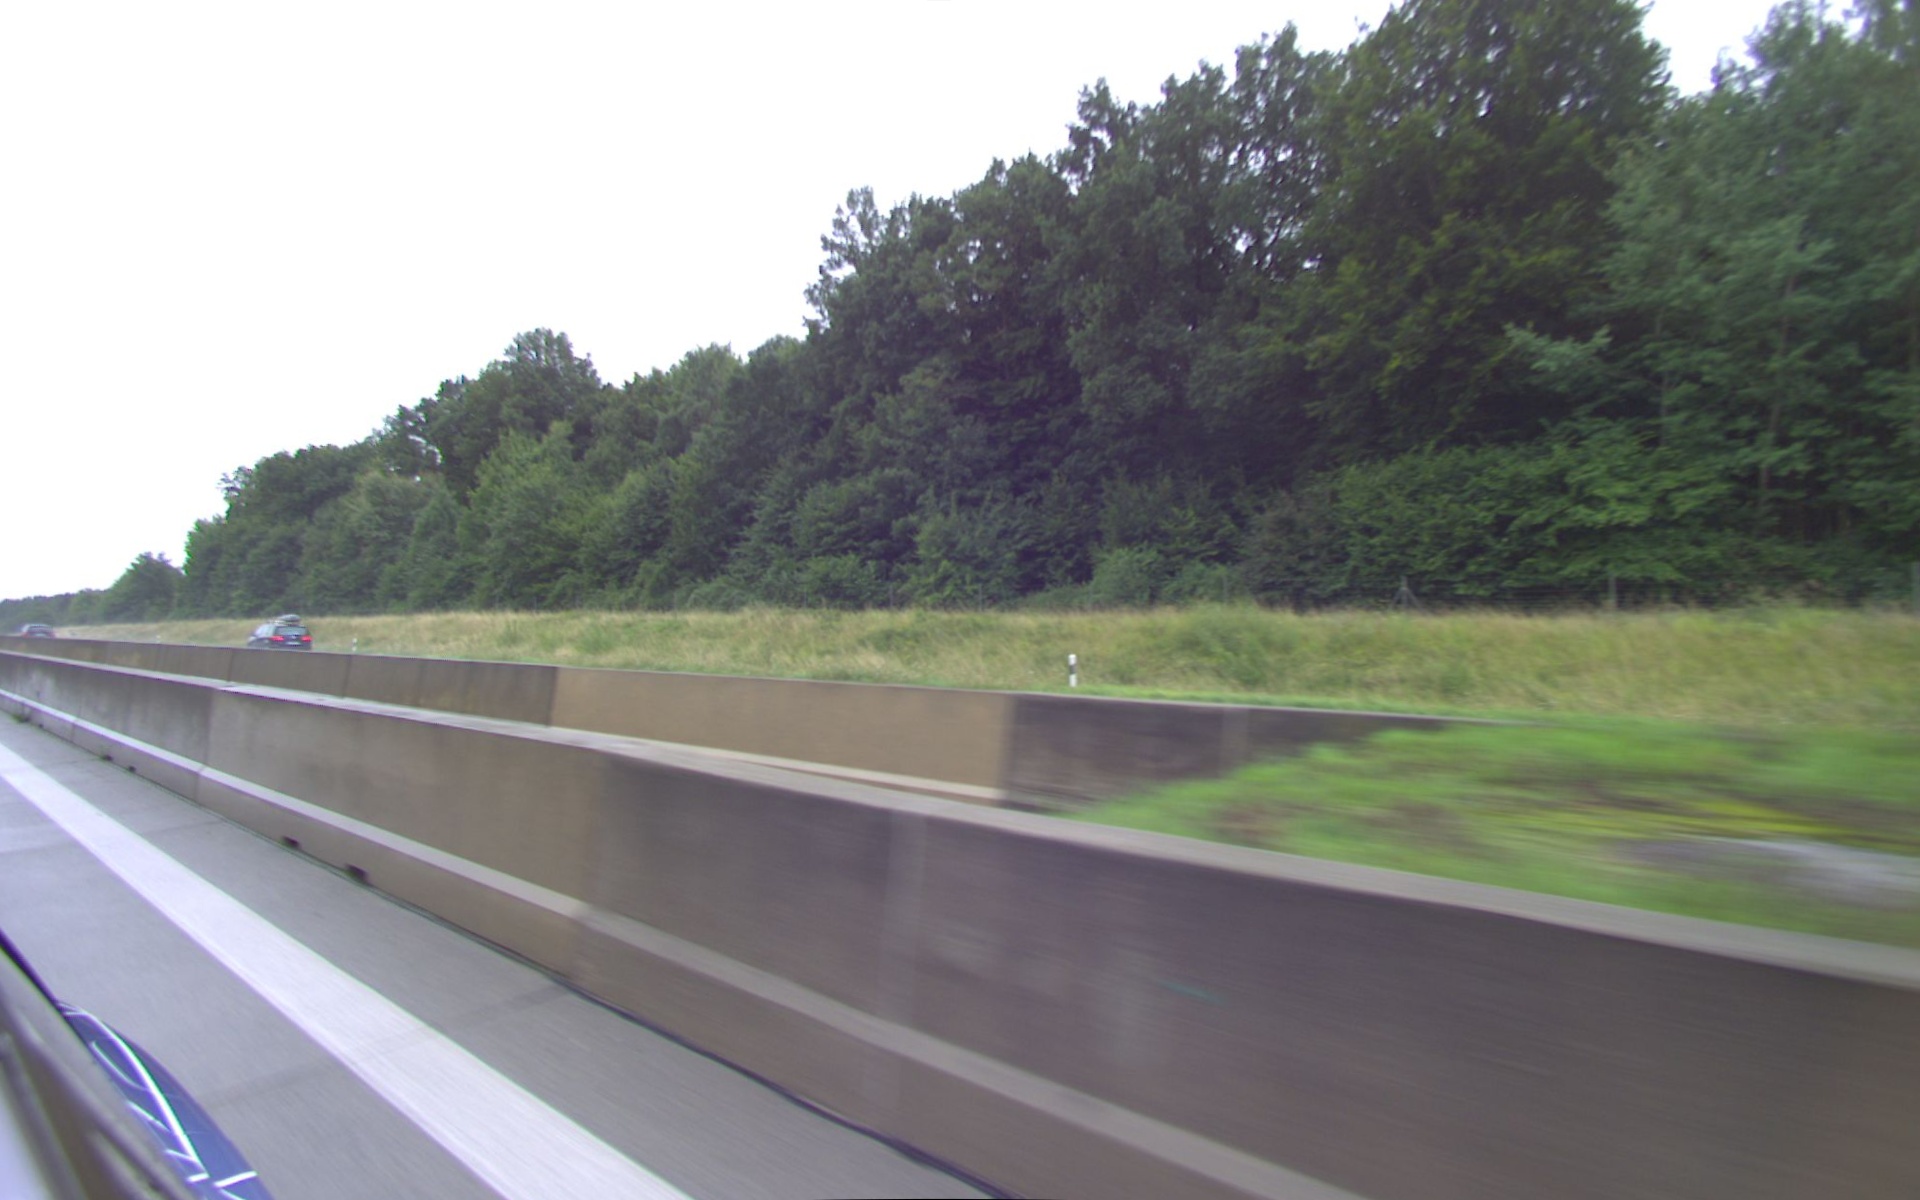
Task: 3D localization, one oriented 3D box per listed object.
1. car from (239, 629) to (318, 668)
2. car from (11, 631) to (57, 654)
[{"bbox_3d":[-33.965,2.371,50.363,4.849,1.816,2.039,-1,-2,41],"label":"car"},{"bbox_3d":[-66.489,3.036,72.649,4.851,1.622,1.947,-2,-2,42],"label":"car"}]
